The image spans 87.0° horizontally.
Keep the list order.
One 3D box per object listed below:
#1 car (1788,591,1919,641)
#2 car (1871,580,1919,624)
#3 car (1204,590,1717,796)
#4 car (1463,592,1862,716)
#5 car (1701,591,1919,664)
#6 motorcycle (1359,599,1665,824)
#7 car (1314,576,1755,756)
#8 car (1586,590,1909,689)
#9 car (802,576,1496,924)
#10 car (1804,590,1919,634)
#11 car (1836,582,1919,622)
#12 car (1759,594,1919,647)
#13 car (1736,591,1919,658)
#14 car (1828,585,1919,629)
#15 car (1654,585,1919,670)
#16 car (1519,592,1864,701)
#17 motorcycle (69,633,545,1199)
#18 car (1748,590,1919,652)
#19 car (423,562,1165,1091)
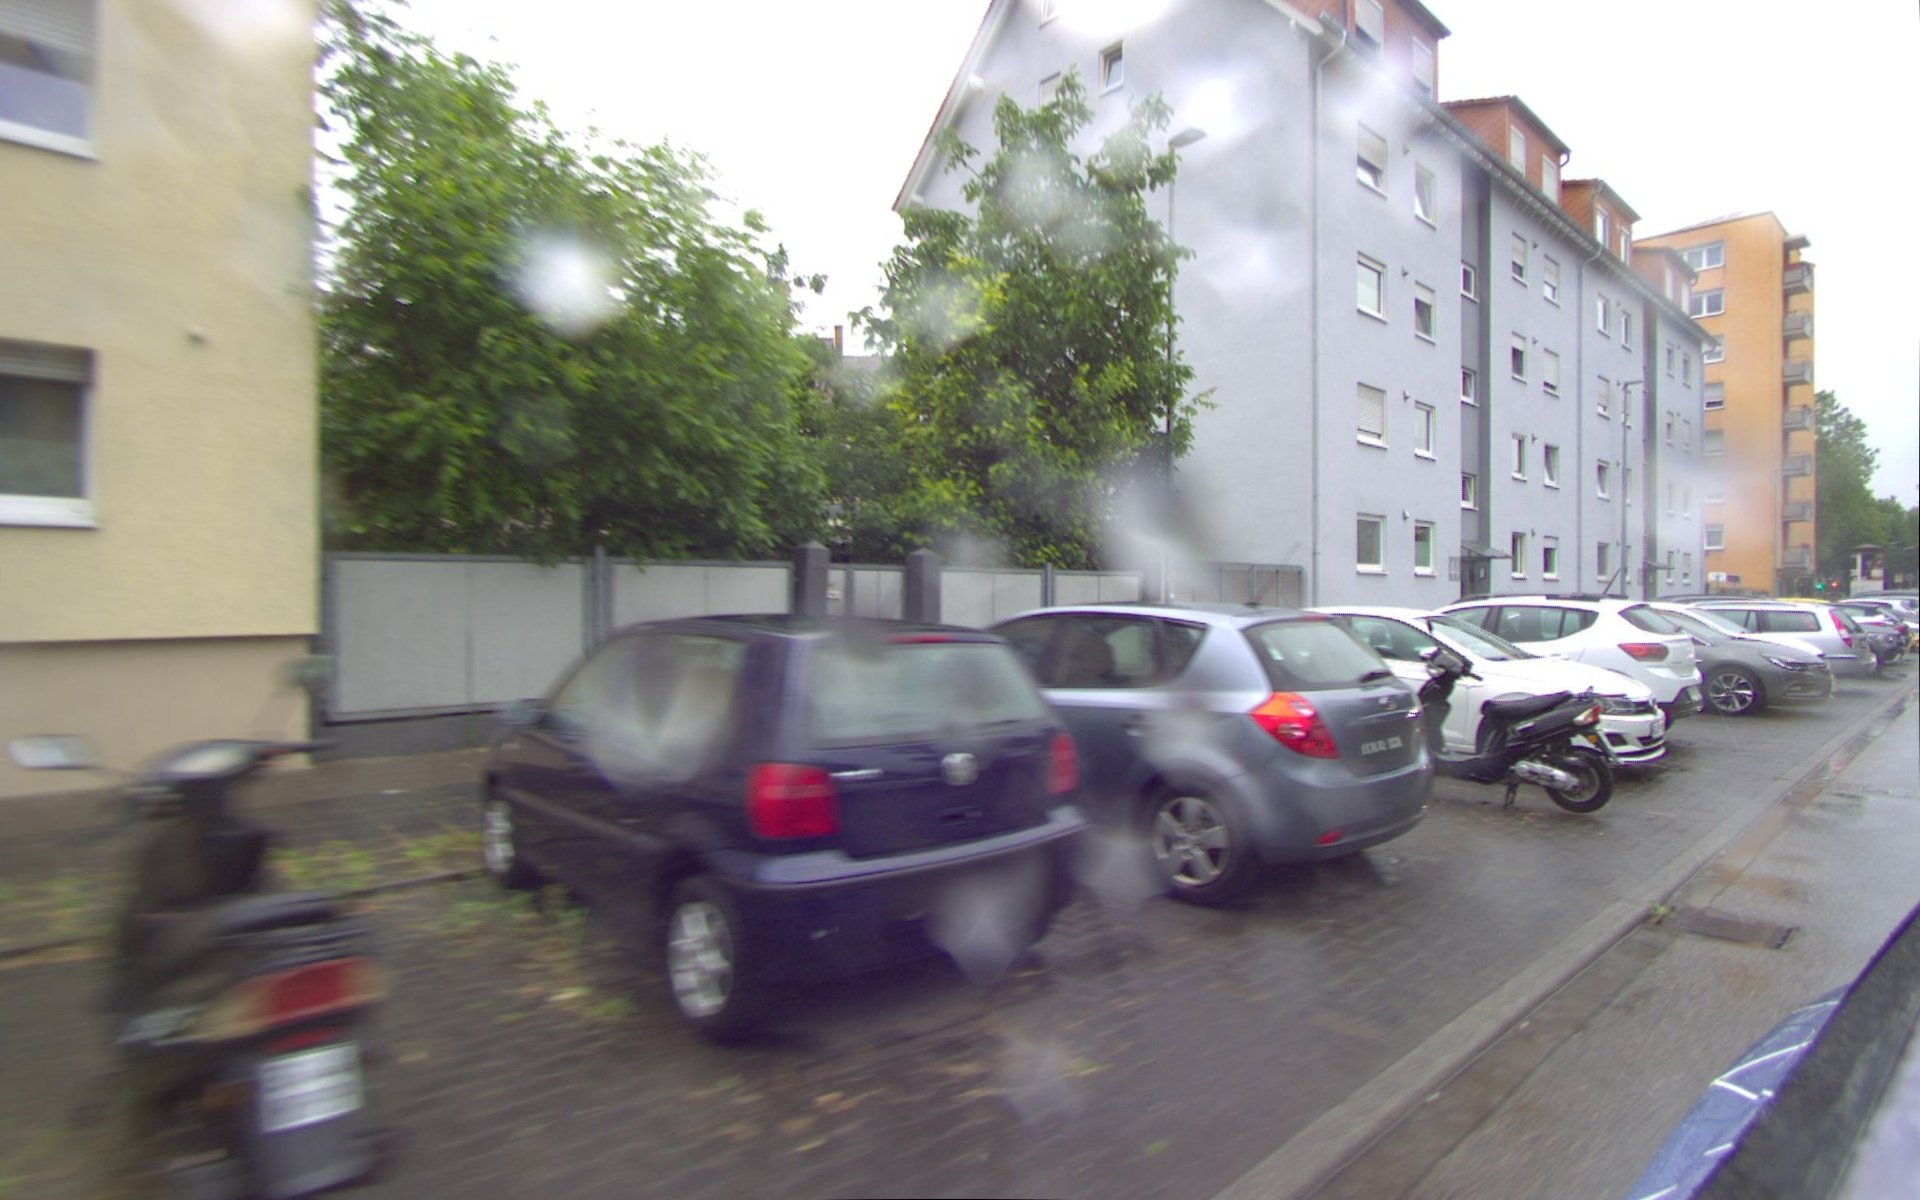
[{"bbox_3d":[28.850,0.482,31.799,1.622,1.471,4.167,-1,0,-41],"label":"car"},{"bbox_3d":[45.889,0.065,47.802,1.965,2.039,3.994,-1,0,-40],"label":"car"},{"bbox_3d":[4.476,0.690,9.506,1.825,1.499,3.920,-1,0,-41],"label":"car"},{"bbox_3d":[9.976,0.671,14.657,2.015,1.495,4.384,-1,0,-41],"label":"car"},{"bbox_3d":[19.257,0.590,23.020,1.515,1.506,3.615,-1,0,-41],"label":"car"},{"bbox_3d":[3.873,0.703,7.221,0.722,1.390,1.765,-1,0,-41],"label":"motorcycle"},{"bbox_3d":[6.170,0.600,11.231,1.662,1.635,3.920,-1,0,-41],"label":"car"},{"bbox_3d":[13.425,0.609,17.472,1.622,1.495,4.167,-1,0,-41],"label":"car"},{"bbox_3d":[0.909,0.669,6.464,1.900,1.473,4.058,2,-2,-42],"label":"car"},{"bbox_3d":[32.434,0.397,35.464,1.622,1.471,4.167,-1,0,-41],"label":"car"},{"bbox_3d":[39.613,0.074,42.427,1.622,1.626,4.167,-1,0,-41],"label":"car"},{"bbox_3d":[26.697,0.578,30.247,1.622,1.471,4.167,-1,0,-41],"label":"car"},{"bbox_3d":[21.363,0.564,24.687,1.515,1.506,3.615,-1,0,-41],"label":"car"},{"bbox_3d":[36.003,0.249,38.640,1.622,1.626,4.167,-1,0,-41],"label":"car"},{"bbox_3d":[17.050,0.519,20.940,1.622,1.589,4.167,-1,0,-41],"label":"car"},{"bbox_3d":[11.595,0.653,16.269,1.887,1.495,4.167,-1,0,-41],"label":"car"},{"bbox_3d":[-1.636,0.767,2.413,0.683,1.341,1.591,1,-1,-43],"label":"motorcycle"},{"bbox_3d":[23.160,0.529,26.601,1.515,1.506,3.615,-1,0,-41],"label":"car"},{"bbox_3d":[-1.083,0.661,4.837,1.769,1.473,3.756,2,-2,-42],"label":"car"}]
